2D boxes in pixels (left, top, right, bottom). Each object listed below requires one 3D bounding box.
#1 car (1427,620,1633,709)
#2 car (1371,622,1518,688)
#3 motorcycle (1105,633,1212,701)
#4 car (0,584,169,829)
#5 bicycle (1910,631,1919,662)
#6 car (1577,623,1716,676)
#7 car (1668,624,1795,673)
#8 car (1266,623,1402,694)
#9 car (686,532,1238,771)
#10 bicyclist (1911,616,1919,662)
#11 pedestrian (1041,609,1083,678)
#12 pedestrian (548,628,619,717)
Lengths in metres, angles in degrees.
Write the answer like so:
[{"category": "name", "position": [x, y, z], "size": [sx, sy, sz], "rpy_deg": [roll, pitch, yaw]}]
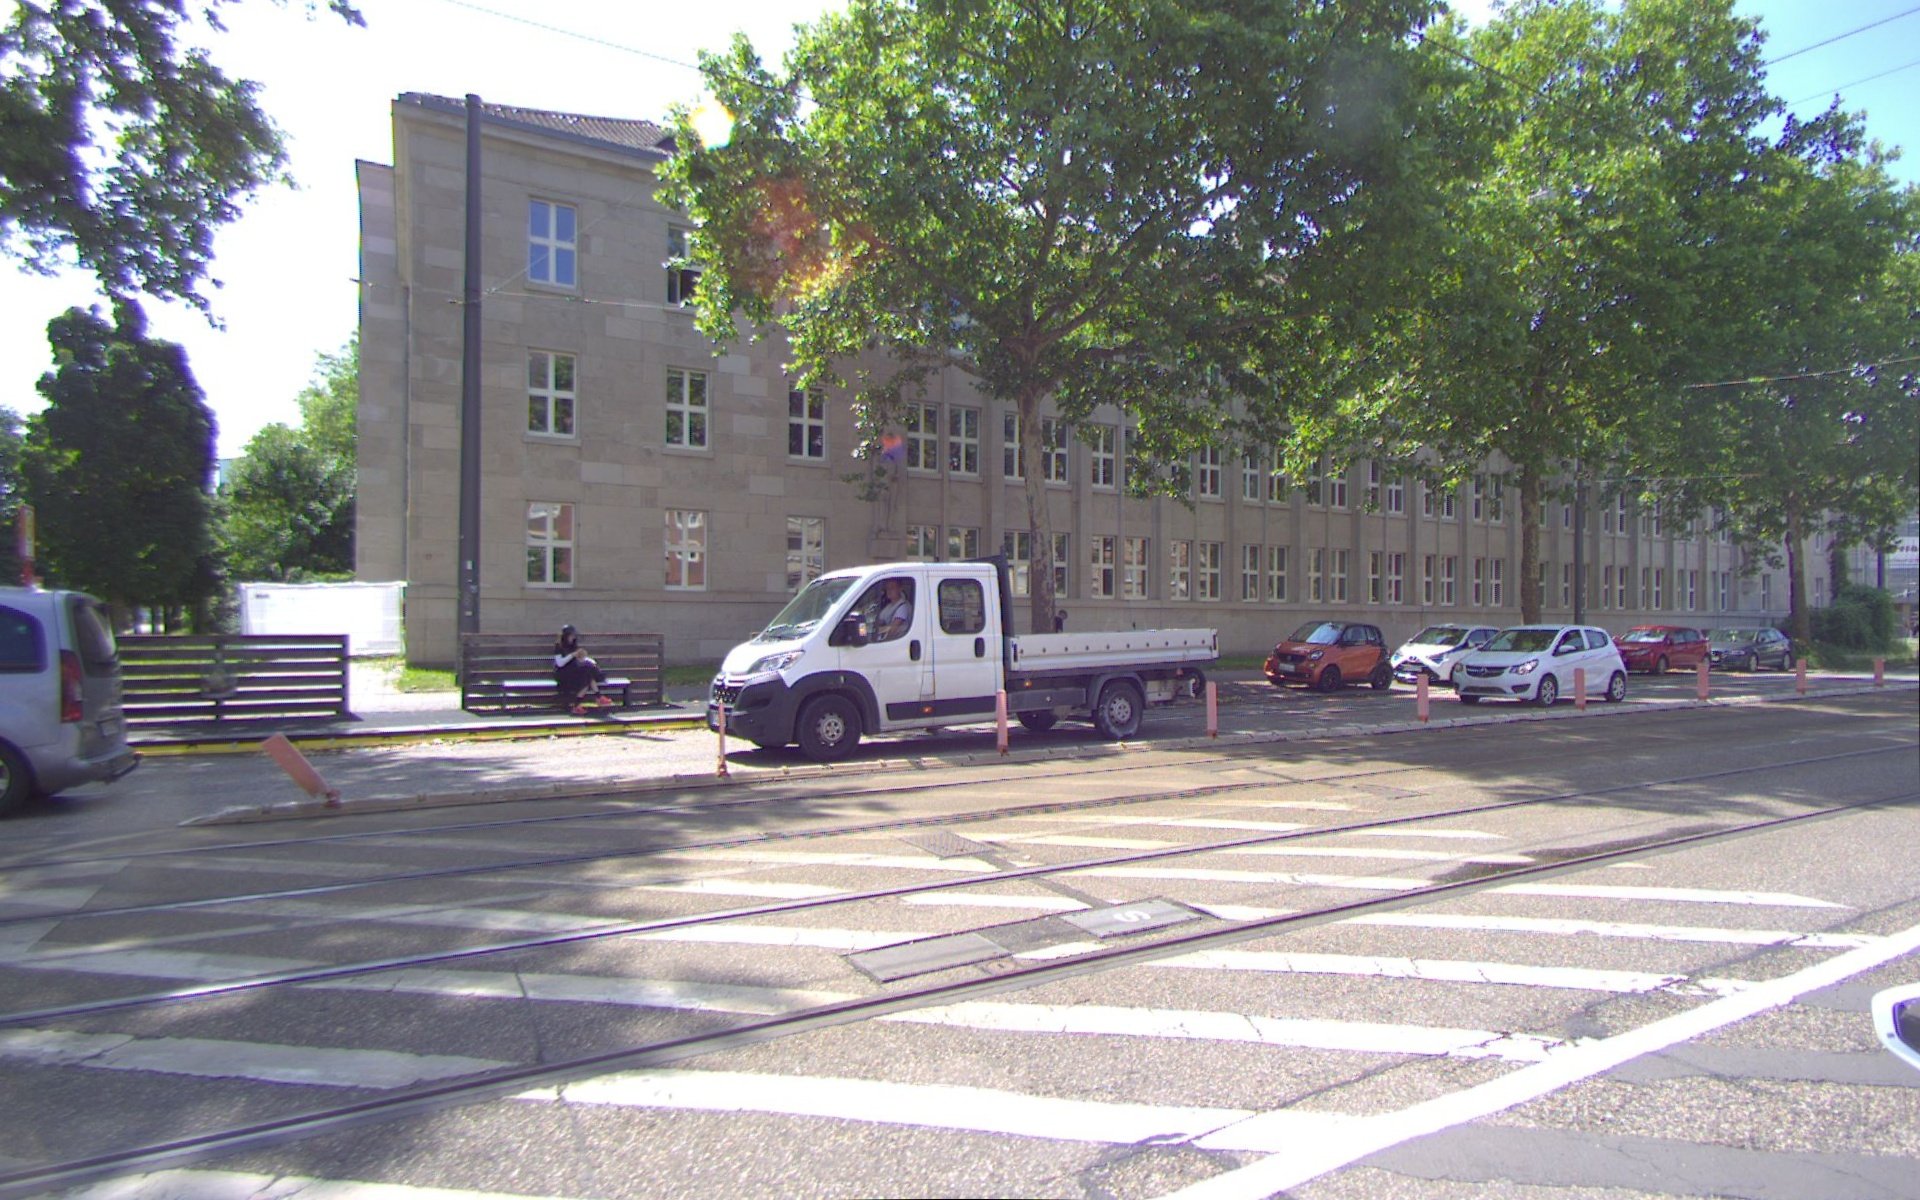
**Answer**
[{"category": "car", "position": [10.777, 1.172, 18.959], "size": [3.744, 1.499, 1.752], "rpy_deg": [0, -3, -31]}, {"category": "car", "position": [12.225, 1.342, 25.312], "size": [3.452, 1.473, 1.737], "rpy_deg": [0, 1, -32]}, {"category": "motorcycle", "position": [4.094, 1.365, 20.735], "size": [2.066, 1.192, 0.544], "rpy_deg": [3, 5, 23]}, {"category": "car", "position": [-8.780, 0.786, 7.291], "size": [4.485, 1.768, 1.912], "rpy_deg": [1, -4, -31]}, {"category": "bicycle", "position": [36.274, 1.764, 37.752], "size": [0.782, 1.125, 2.263], "rpy_deg": [1, 0, 44]}, {"category": "car", "position": [20.888, 1.455, 30.532], "size": [4.001, 1.439, 1.917], "rpy_deg": [1, 1, -30]}, {"category": "car", "position": [25.286, 1.541, 32.909], "size": [4.269, 1.387, 1.916], "rpy_deg": [1, 1, -32]}, {"category": "car", "position": [8.576, 1.287, 23.019], "size": [2.850, 1.473, 1.478], "rpy_deg": [0, 1, -32]}, {"category": "car", "position": [0.229, 0.609, 12.835], "size": [6.899, 2.405, 2.245], "rpy_deg": [1, -3, -31]}, {"category": "bicyclist", "position": [36.338, 1.464, 37.801], "size": [0.753, 1.727, 0.779], "rpy_deg": [1, 0, 43]}, {"category": "pedestrian", "position": [2.414, 1.020, 23.821], "size": [0.786, 1.612, 0.551], "rpy_deg": [1, 0, -30]}, {"category": "pedestrian", "position": [-5.736, 1.083, 15.285], "size": [0.901, 1.228, 0.752], "rpy_deg": [1, 4, -28]}]
